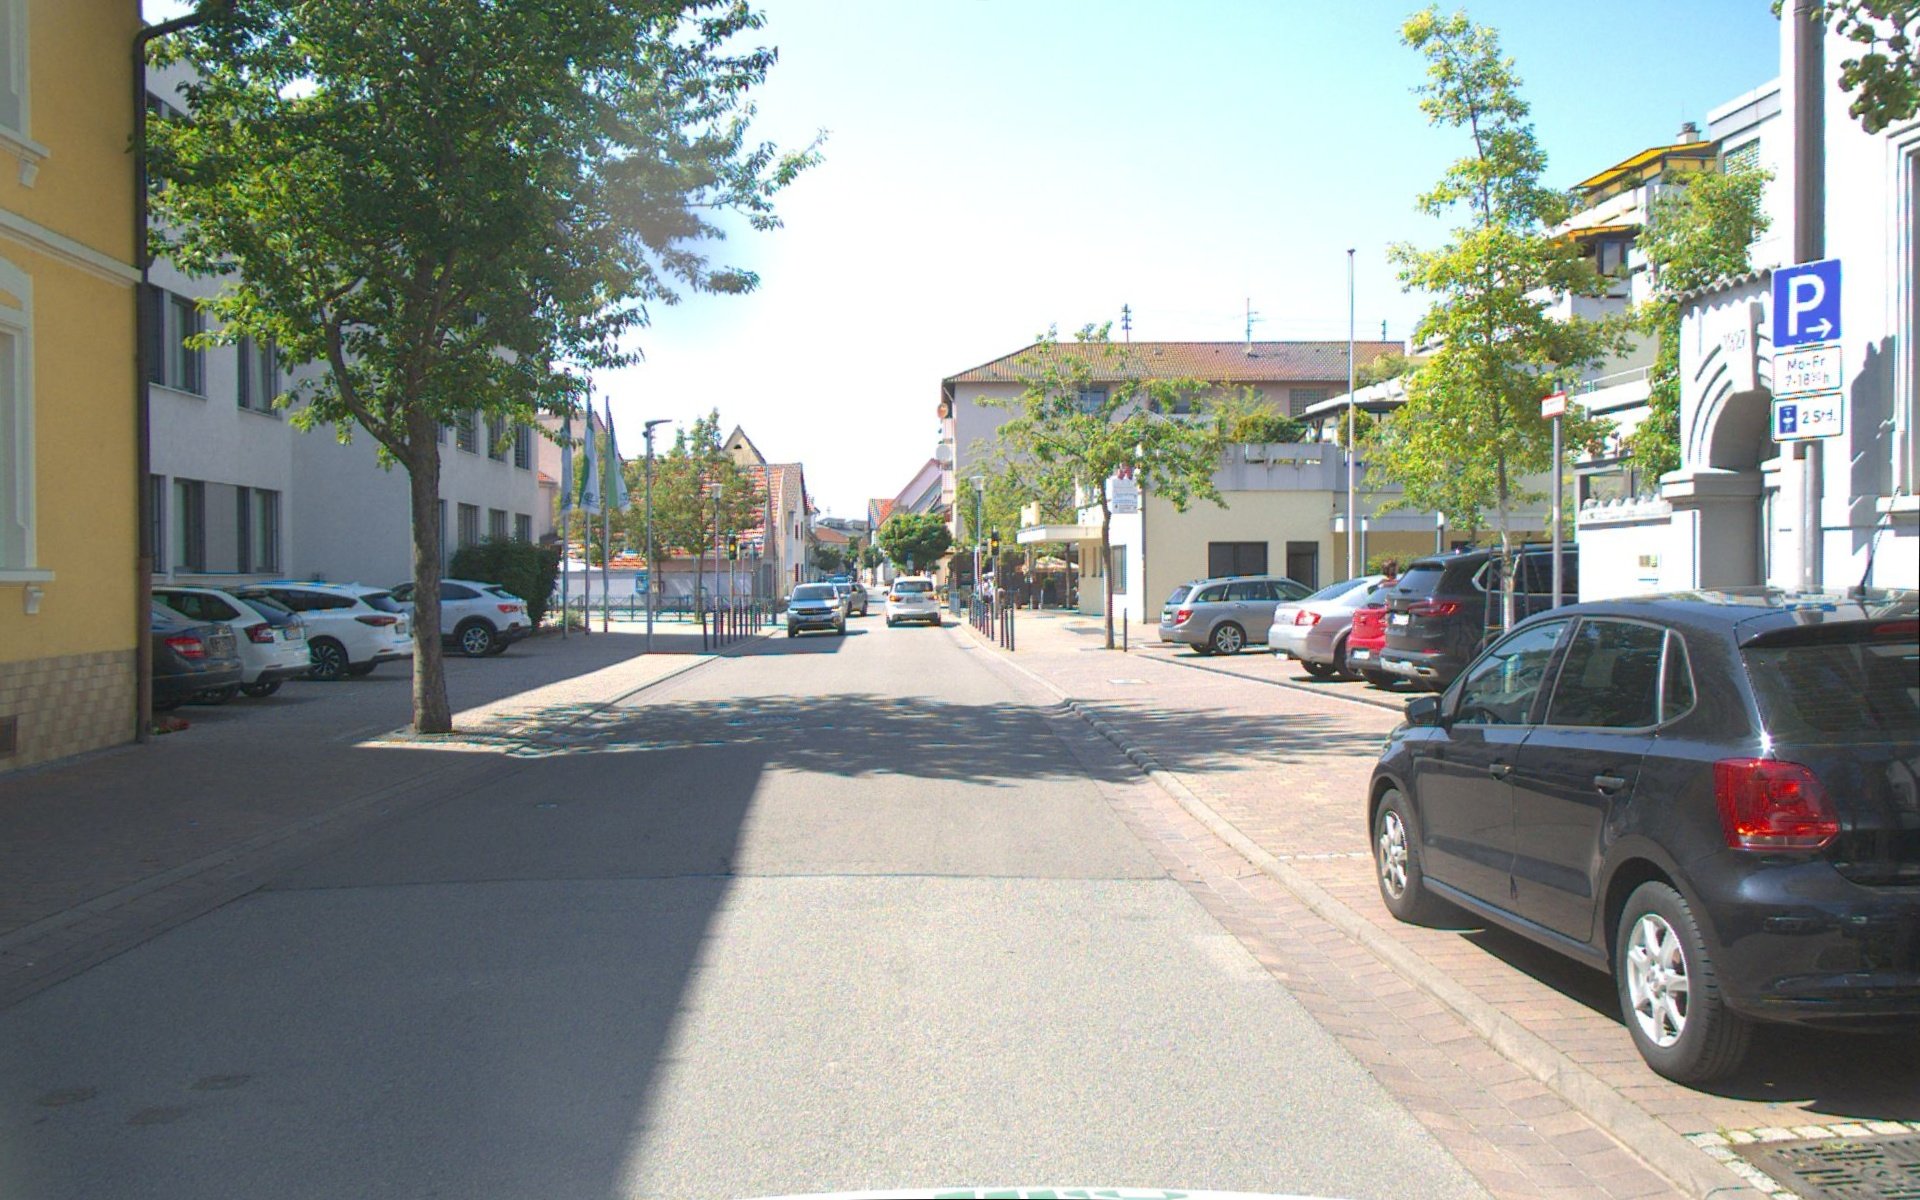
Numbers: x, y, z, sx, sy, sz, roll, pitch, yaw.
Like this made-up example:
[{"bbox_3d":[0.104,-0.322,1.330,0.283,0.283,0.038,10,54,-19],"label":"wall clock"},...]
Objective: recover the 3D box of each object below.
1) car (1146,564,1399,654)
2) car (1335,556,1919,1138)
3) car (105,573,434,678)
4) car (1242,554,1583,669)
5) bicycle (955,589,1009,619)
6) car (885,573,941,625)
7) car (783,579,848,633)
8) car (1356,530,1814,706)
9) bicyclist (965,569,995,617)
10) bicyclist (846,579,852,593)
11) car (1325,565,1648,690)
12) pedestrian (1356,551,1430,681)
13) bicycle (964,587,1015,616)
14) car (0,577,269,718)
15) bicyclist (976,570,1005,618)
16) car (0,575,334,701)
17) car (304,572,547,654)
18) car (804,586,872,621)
[{"bbox_3d":[6.094,0.165,32.520,4.491,1.539,1.913,-2,0,-9],"label":"car"},{"bbox_3d":[2.848,0.622,6.366,1.670,1.507,3.919,-2,0,-4],"label":"car"},{"bbox_3d":[-10.852,0.372,26.257,4.414,1.581,1.934,0,1,-3],"label":"car"},{"bbox_3d":[6.581,0.149,24.276,4.452,1.466,1.836,-2,0,-9],"label":"car"},{"bbox_3d":[0.787,0.130,58.015,1.877,0.974,0.666,-3,1,-39],"label":"bicycle"},{"bbox_3d":[-1.575,-0.032,55.566,1.797,1.681,3.999,0,0,-2],"label":"car"},{"bbox_3d":[-4.434,0.171,51.149,1.814,1.601,3.998,0,0,-3],"label":"car"},{"bbox_3d":[7.233,0.183,19.482,4.538,1.802,2.146,-2,0,-4],"label":"car"},{"bbox_3d":[0.705,-0.244,57.938,0.754,1.609,0.661,-3,1,-39],"label":"bicyclist"},{"bbox_3d":[-11.751,-1.451,174.966,0.660,1.508,0.770,-1,0,-3],"label":"bicyclist"},{"bbox_3d":[6.888,0.337,21.802,3.660,1.478,1.741,-1,0,-9],"label":"car"},{"bbox_3d":[5.993,0.212,22.917,0.735,1.747,0.697,-2,0,-9],"label":"pedestrian"},{"bbox_3d":[1.066,0.060,59.395,1.879,0.974,0.666,-3,1,-41],"label":"bicycle"},{"bbox_3d":[-10.157,0.498,18.680,3.911,1.456,1.969,1,1,-7],"label":"car"},{"bbox_3d":[1.089,-0.209,59.389,0.755,1.693,0.660,-2,1,-42],"label":"bicyclist"},{"bbox_3d":[-10.312,0.464,21.176,3.909,1.476,1.806,1,1,-5],"label":"car"},{"bbox_3d":[-11.077,0.272,34.567,4.418,1.581,2.146,1,0,-4],"label":"car"},{"bbox_3d":[-5.323,0.135,72.673,1.840,1.489,4.440,0,0,11],"label":"car"}]
